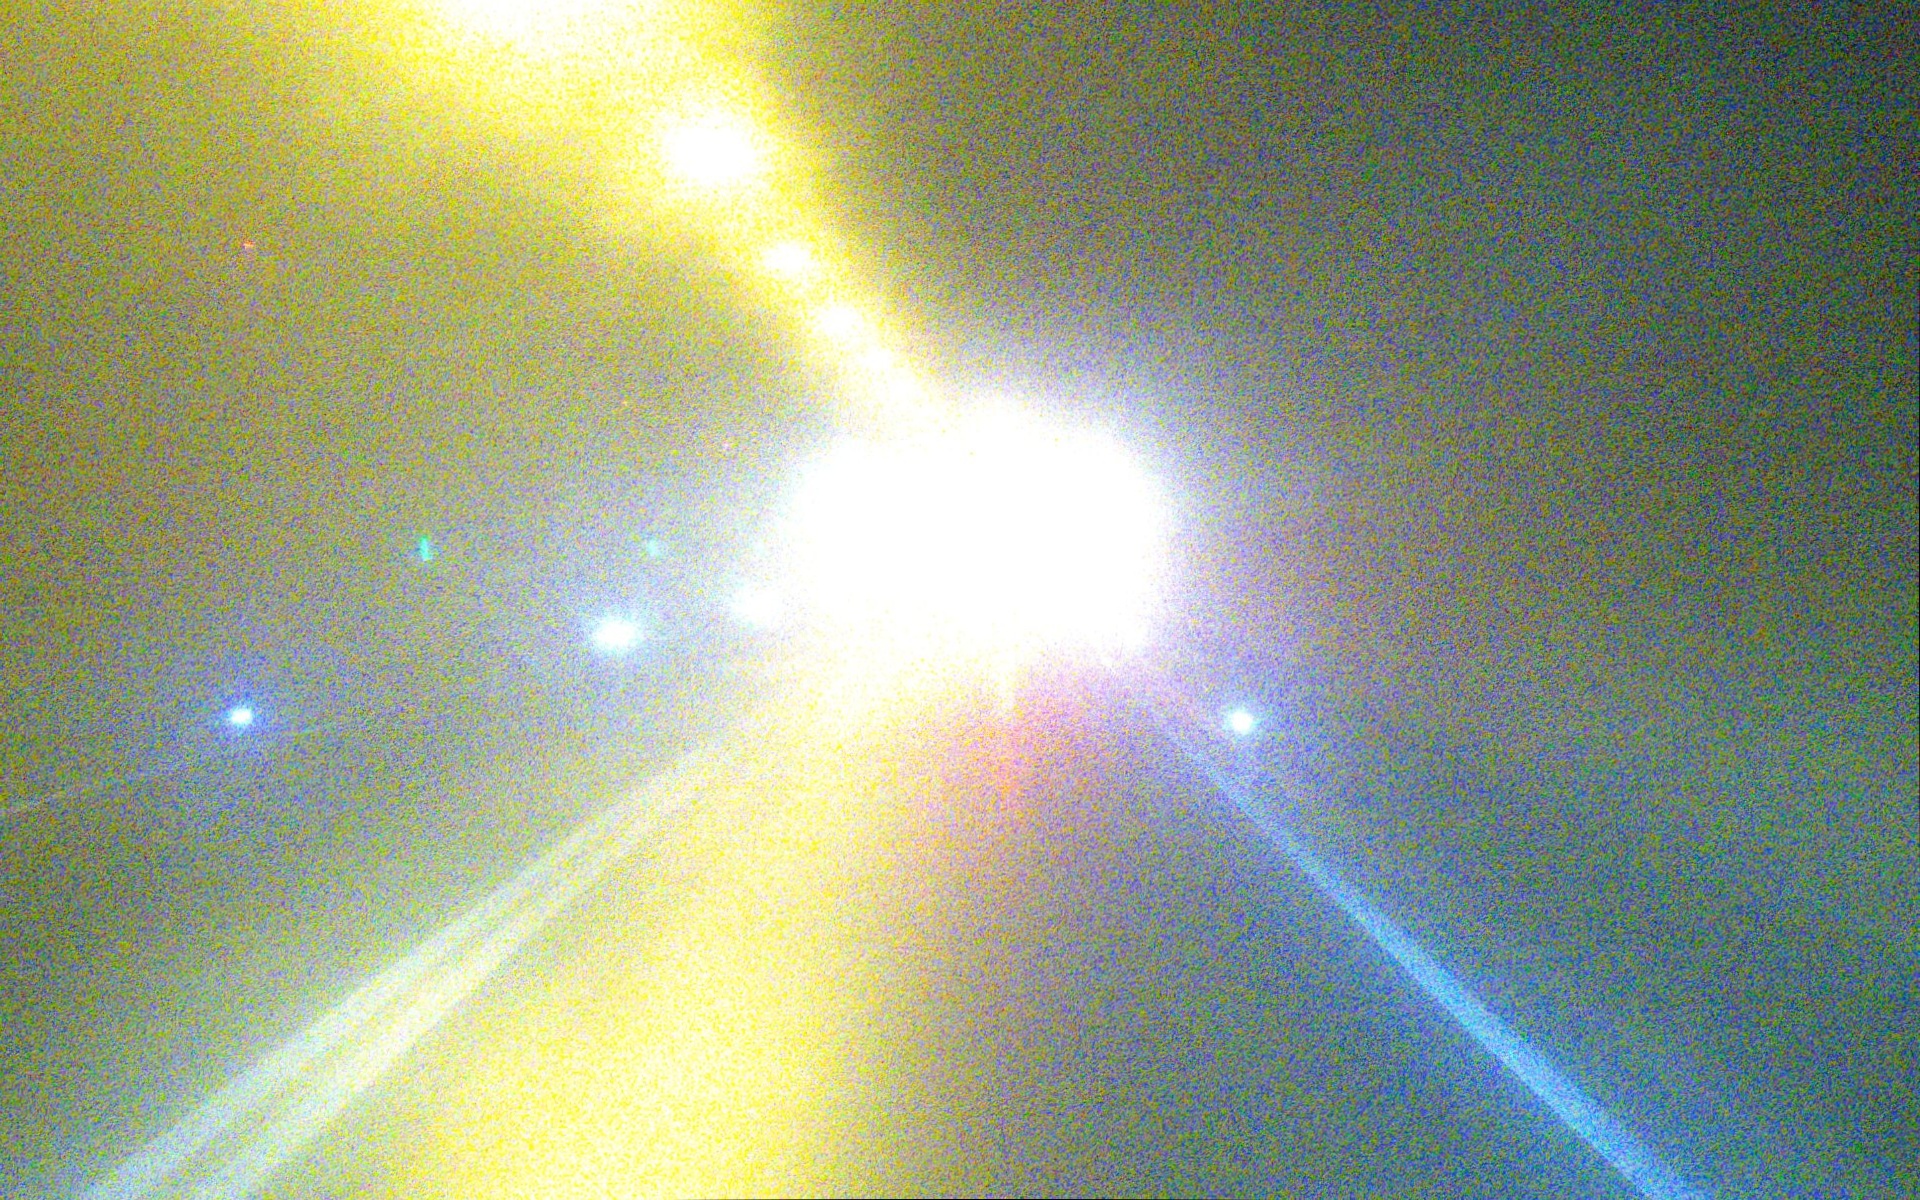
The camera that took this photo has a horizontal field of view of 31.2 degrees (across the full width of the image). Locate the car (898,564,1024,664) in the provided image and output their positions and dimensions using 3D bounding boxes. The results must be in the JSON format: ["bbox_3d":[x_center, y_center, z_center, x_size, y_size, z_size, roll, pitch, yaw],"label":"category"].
[{"bbox_3d":[0.042,0.219,59.390,2.089,1.656,4.000,0,0,1],"label":"car"}]
